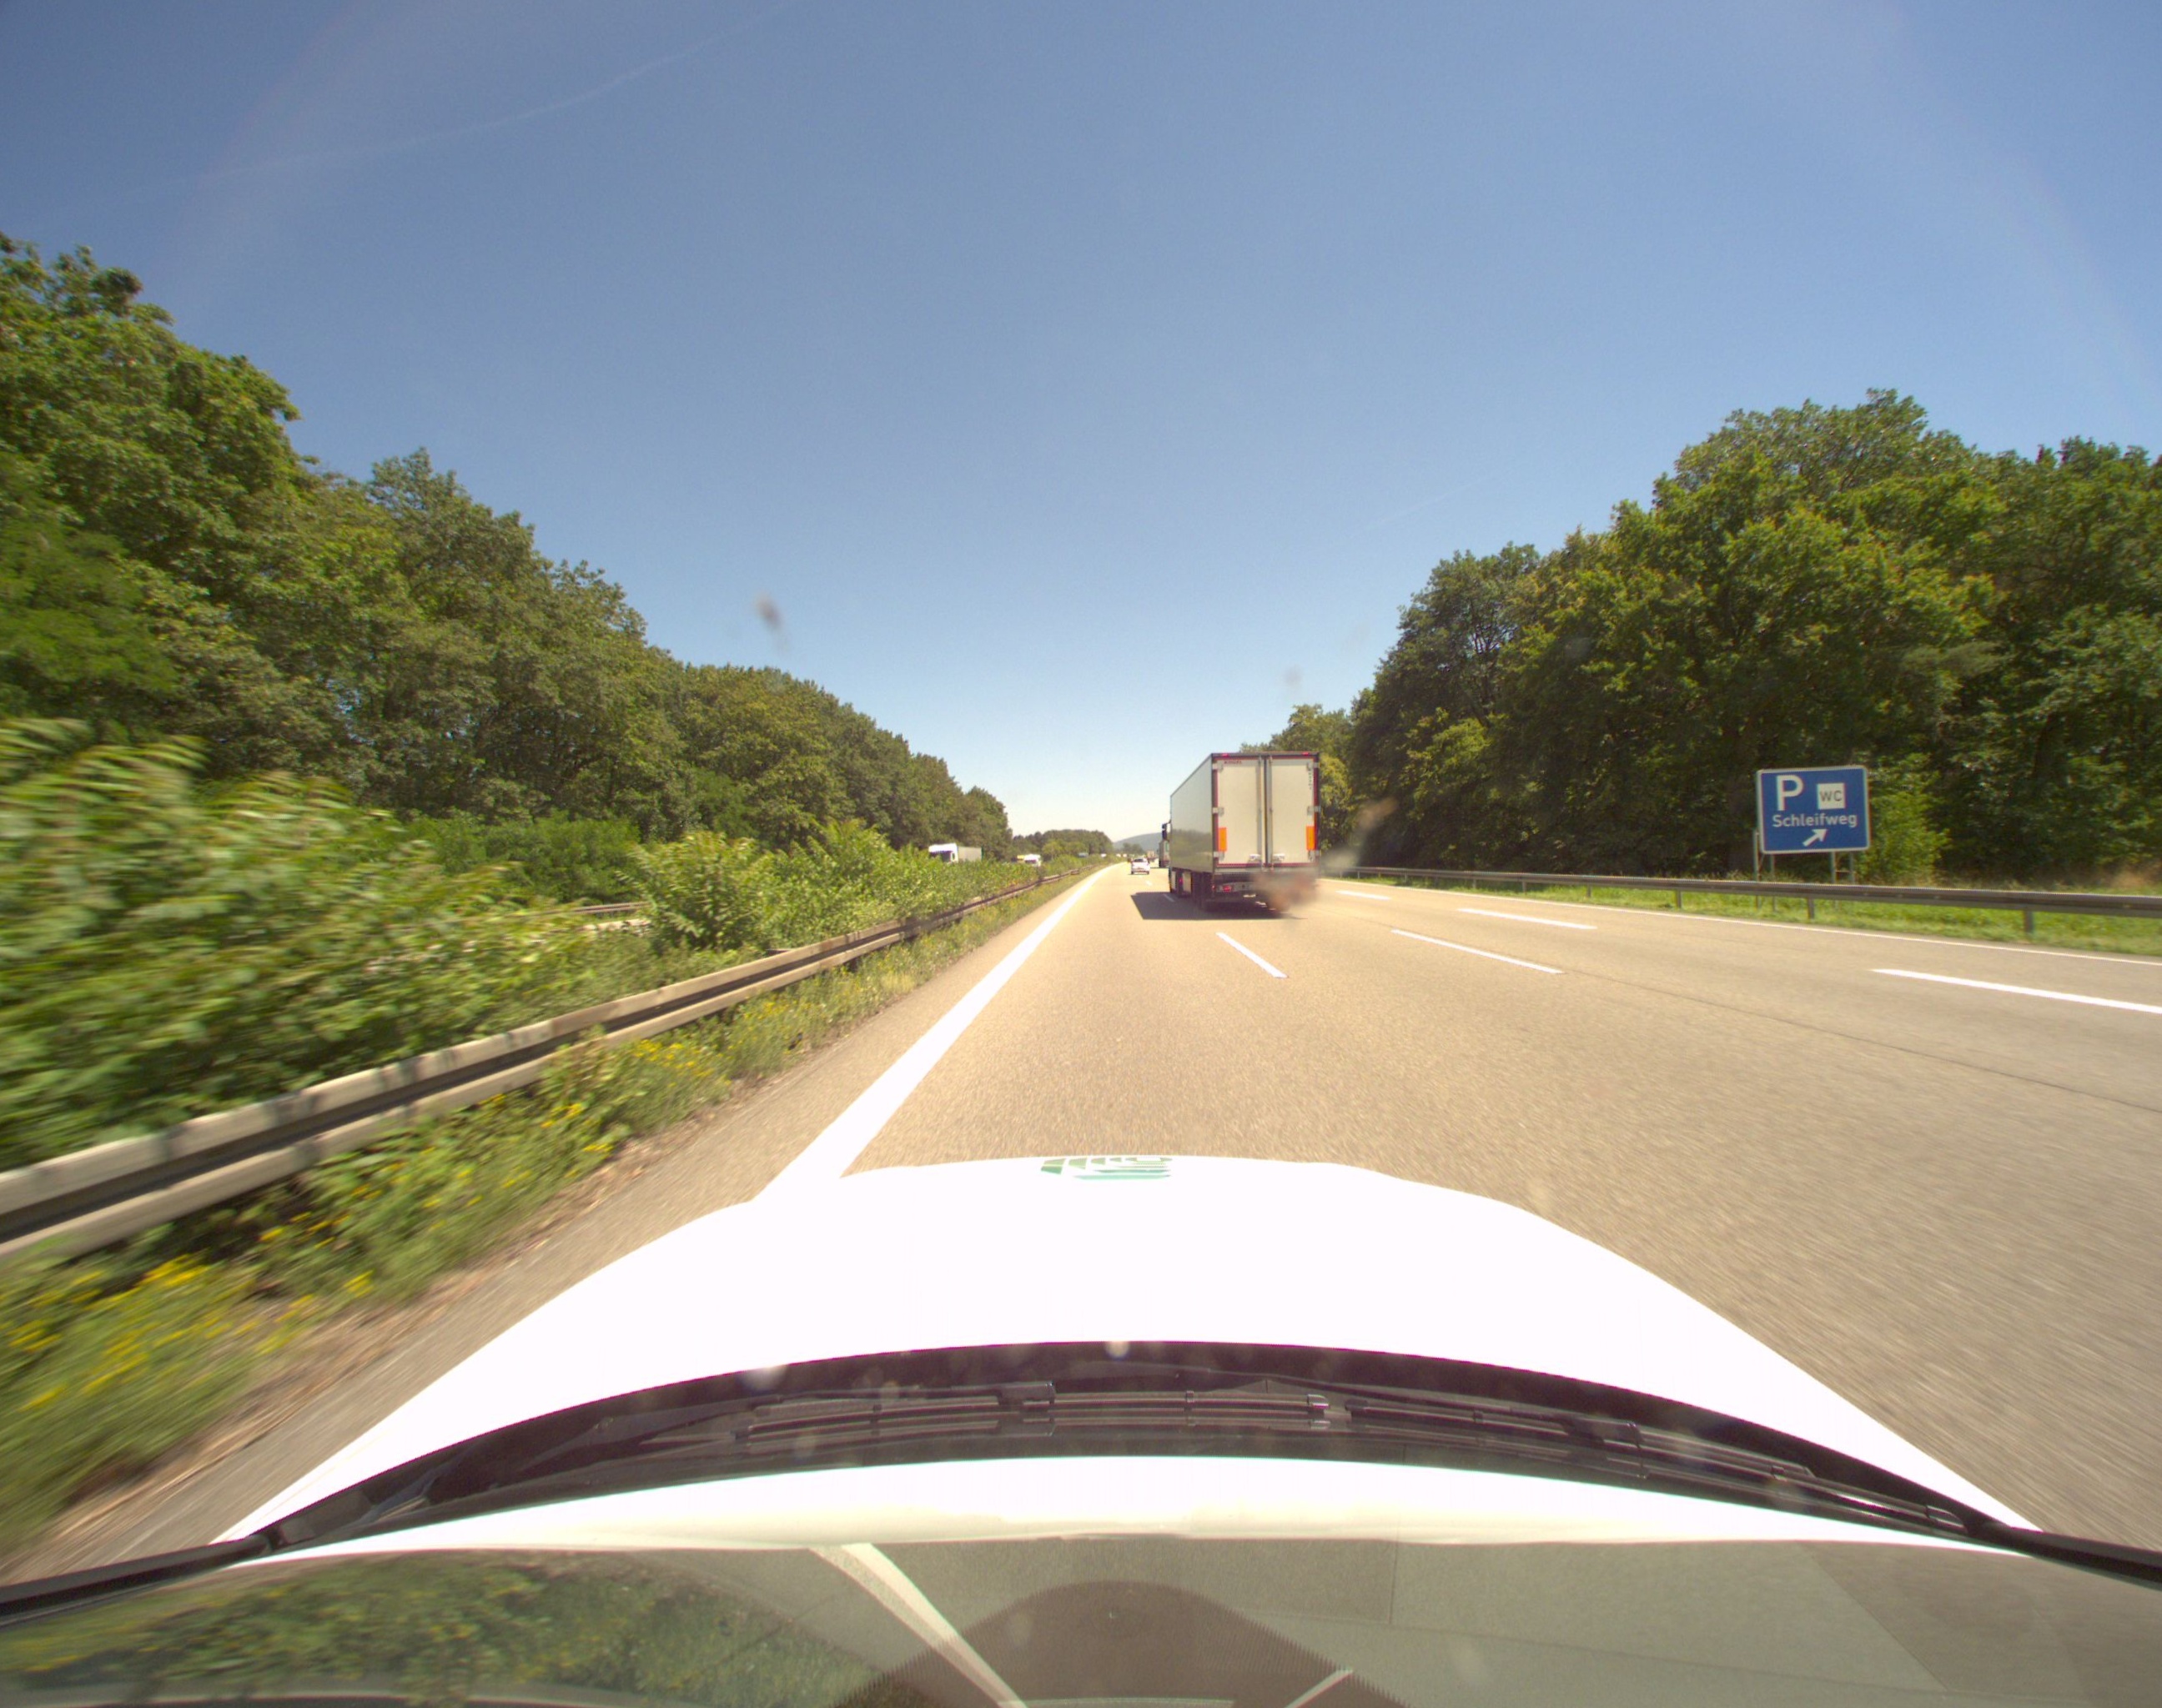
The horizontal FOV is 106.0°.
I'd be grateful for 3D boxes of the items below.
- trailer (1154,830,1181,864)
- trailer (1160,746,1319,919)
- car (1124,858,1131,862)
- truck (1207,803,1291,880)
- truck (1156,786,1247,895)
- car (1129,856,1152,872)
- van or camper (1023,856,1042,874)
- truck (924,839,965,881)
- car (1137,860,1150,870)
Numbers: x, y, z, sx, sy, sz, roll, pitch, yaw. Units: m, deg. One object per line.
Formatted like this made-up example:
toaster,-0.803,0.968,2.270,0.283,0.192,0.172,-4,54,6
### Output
trailer,12.507,-0.973,119.013,3.169,4.627,12.058,-2,0,3
trailer,4.465,-0.515,26.077,3.210,4.143,12.361,-2,0,3
car,14.453,1.806,254.787,1.876,1.349,4.465,-2,0,-1
truck,10.507,-0.707,52.292,3.212,4.345,10.809,-2,0,1
truck,4.868,-0.518,33.874,3.216,4.157,4.563,-2,0,3
car,5.522,0.952,75.866,1.806,1.405,3.315,-2,0,-2
van or camper,-8.942,2.016,150.480,2.410,3.112,9.094,-2,0,3
truck,-13.282,0.579,79.504,2.879,3.823,4.886,-2,0,2
car,9.215,1.591,120.282,1.661,1.289,4.003,-2,0,3
